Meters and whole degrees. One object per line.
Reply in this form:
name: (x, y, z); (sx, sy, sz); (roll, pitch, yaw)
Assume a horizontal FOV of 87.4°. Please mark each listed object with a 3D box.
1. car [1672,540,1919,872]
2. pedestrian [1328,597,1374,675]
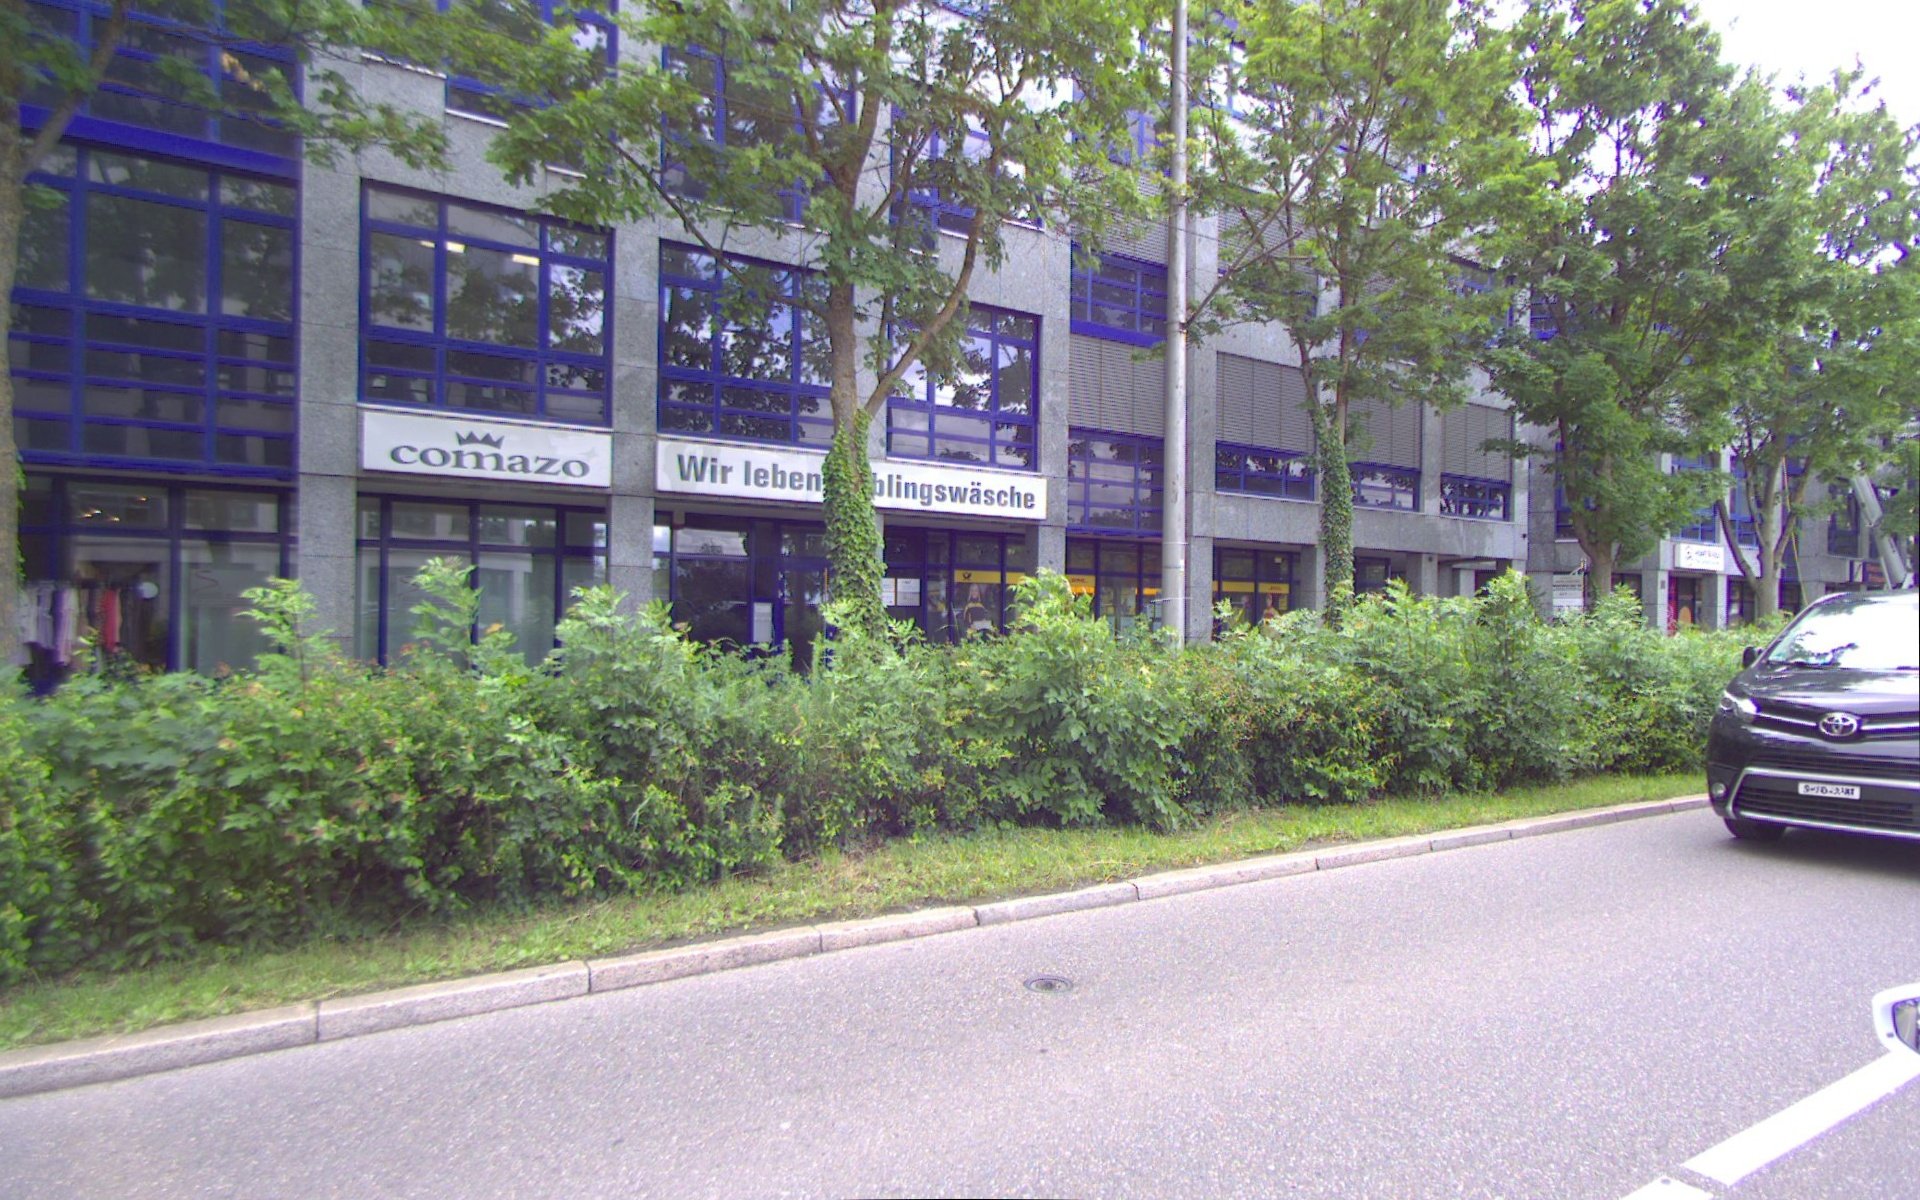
car: (7.569, 0.710, 7.471); (4.681, 1.973, 1.984); (2, -2, -31)
pedestrian: (9.913, 0.904, 25.479); (0.723, 1.919, 0.771); (2, 0, -30)
